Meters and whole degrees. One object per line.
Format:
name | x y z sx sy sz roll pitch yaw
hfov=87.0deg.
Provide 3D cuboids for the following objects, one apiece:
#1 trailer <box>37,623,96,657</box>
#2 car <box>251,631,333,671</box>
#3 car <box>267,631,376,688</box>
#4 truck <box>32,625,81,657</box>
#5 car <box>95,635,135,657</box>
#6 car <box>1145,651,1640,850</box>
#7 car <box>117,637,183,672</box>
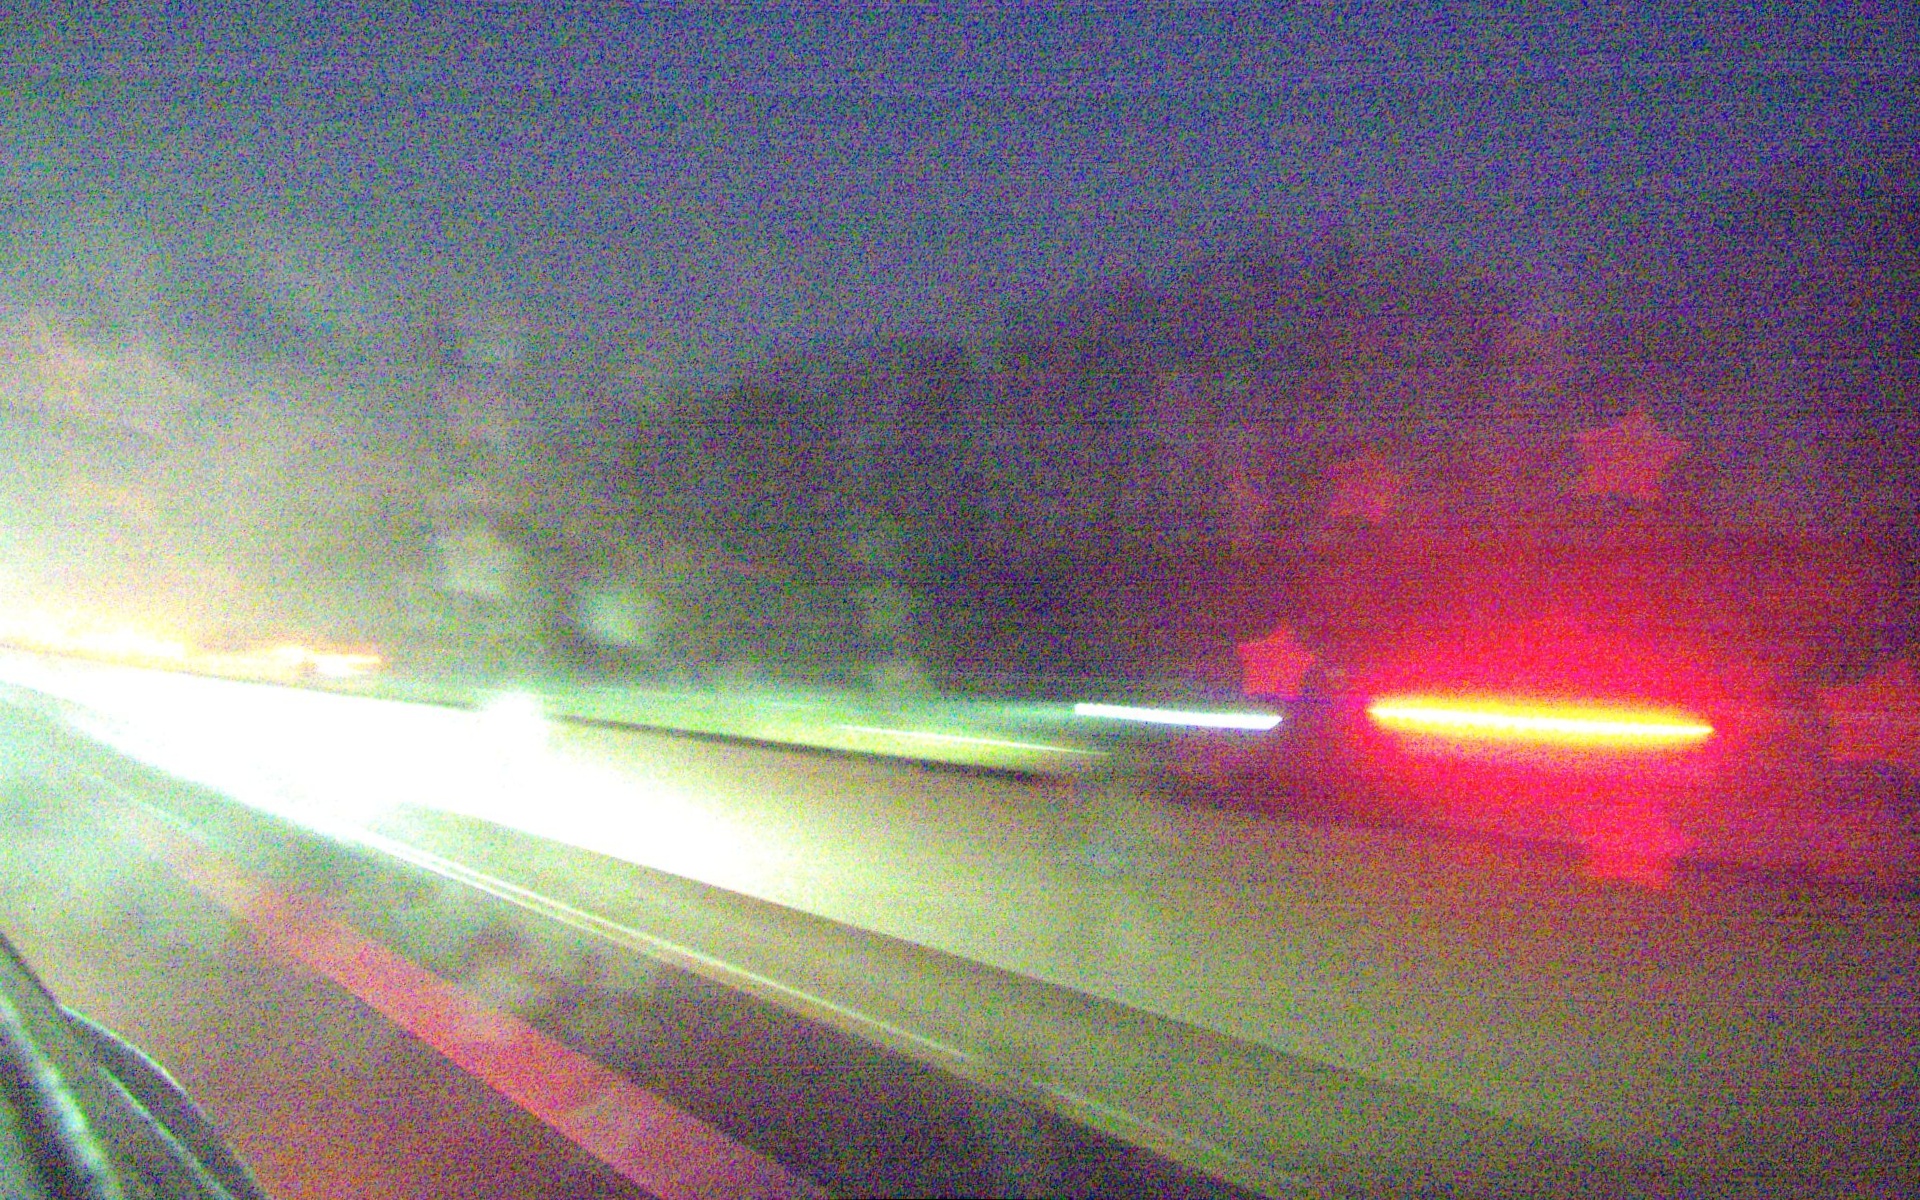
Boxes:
trailer | -92.000 4.199 104.128 13.152 3.321 3.041 -2 -4 42
car | -33.319 2.565 50.423 5.088 1.829 1.974 -3 -2 39
car | -22.022 2.036 34.867 3.995 1.774 1.974 -3 -2 39
truck | -97.318 4.403 108.965 8.341 3.321 3.041 -3 -4 42
car | -69.970 3.801 83.779 4.505 1.697 1.896 -1 -3 42
car | 4.885 1.567 11.909 4.954 1.774 1.974 -3 -2 39
car | -44.339 2.970 55.371 4.651 1.774 1.973 -3 -2 41
